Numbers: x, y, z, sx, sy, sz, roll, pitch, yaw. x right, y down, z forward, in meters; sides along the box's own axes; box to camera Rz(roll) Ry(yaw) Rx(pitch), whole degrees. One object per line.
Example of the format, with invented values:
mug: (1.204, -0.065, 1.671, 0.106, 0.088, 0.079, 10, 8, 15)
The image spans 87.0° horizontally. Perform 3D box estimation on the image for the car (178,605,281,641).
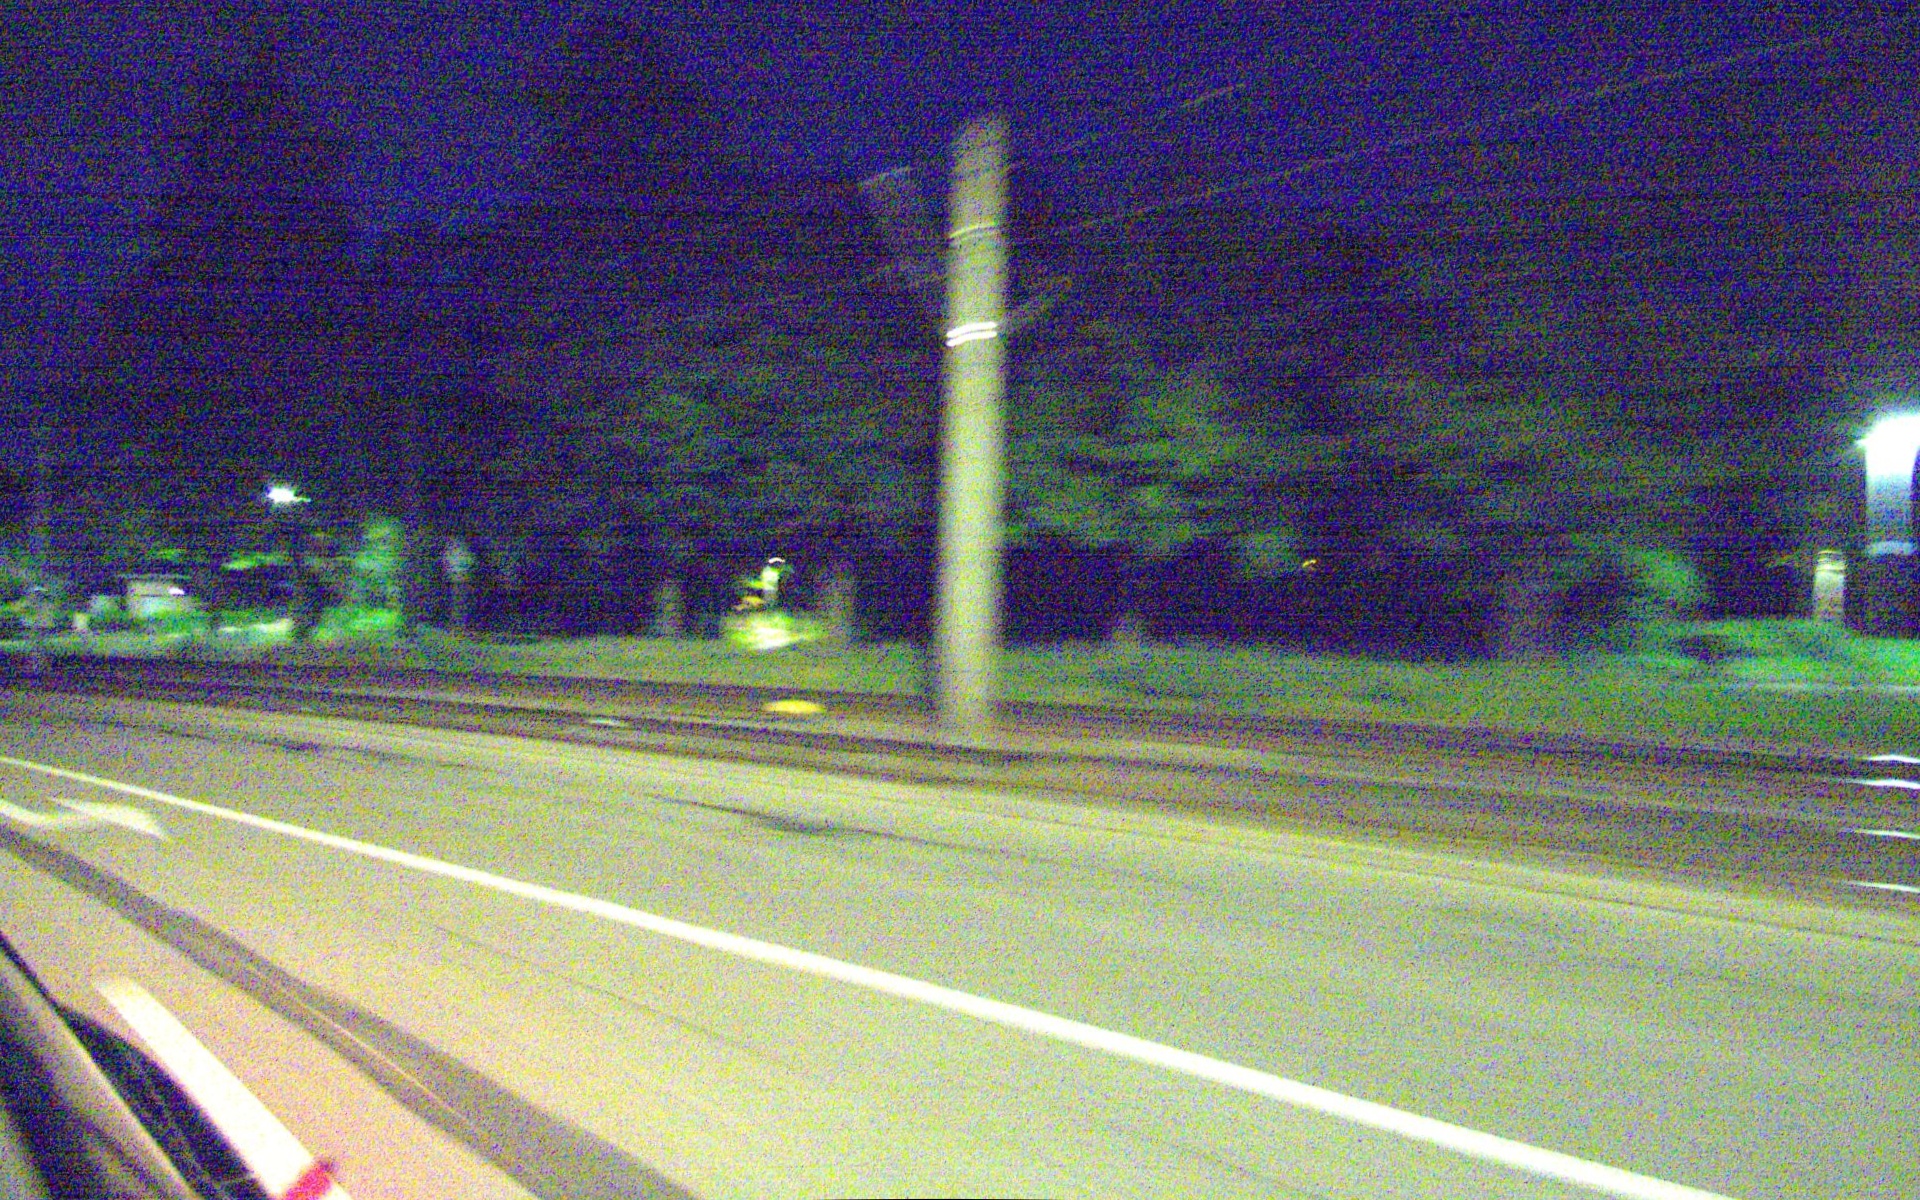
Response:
car: (-37.178, 1.119, 51.608, 1.744, 1.621, 3.973, 1, 2, 20)
